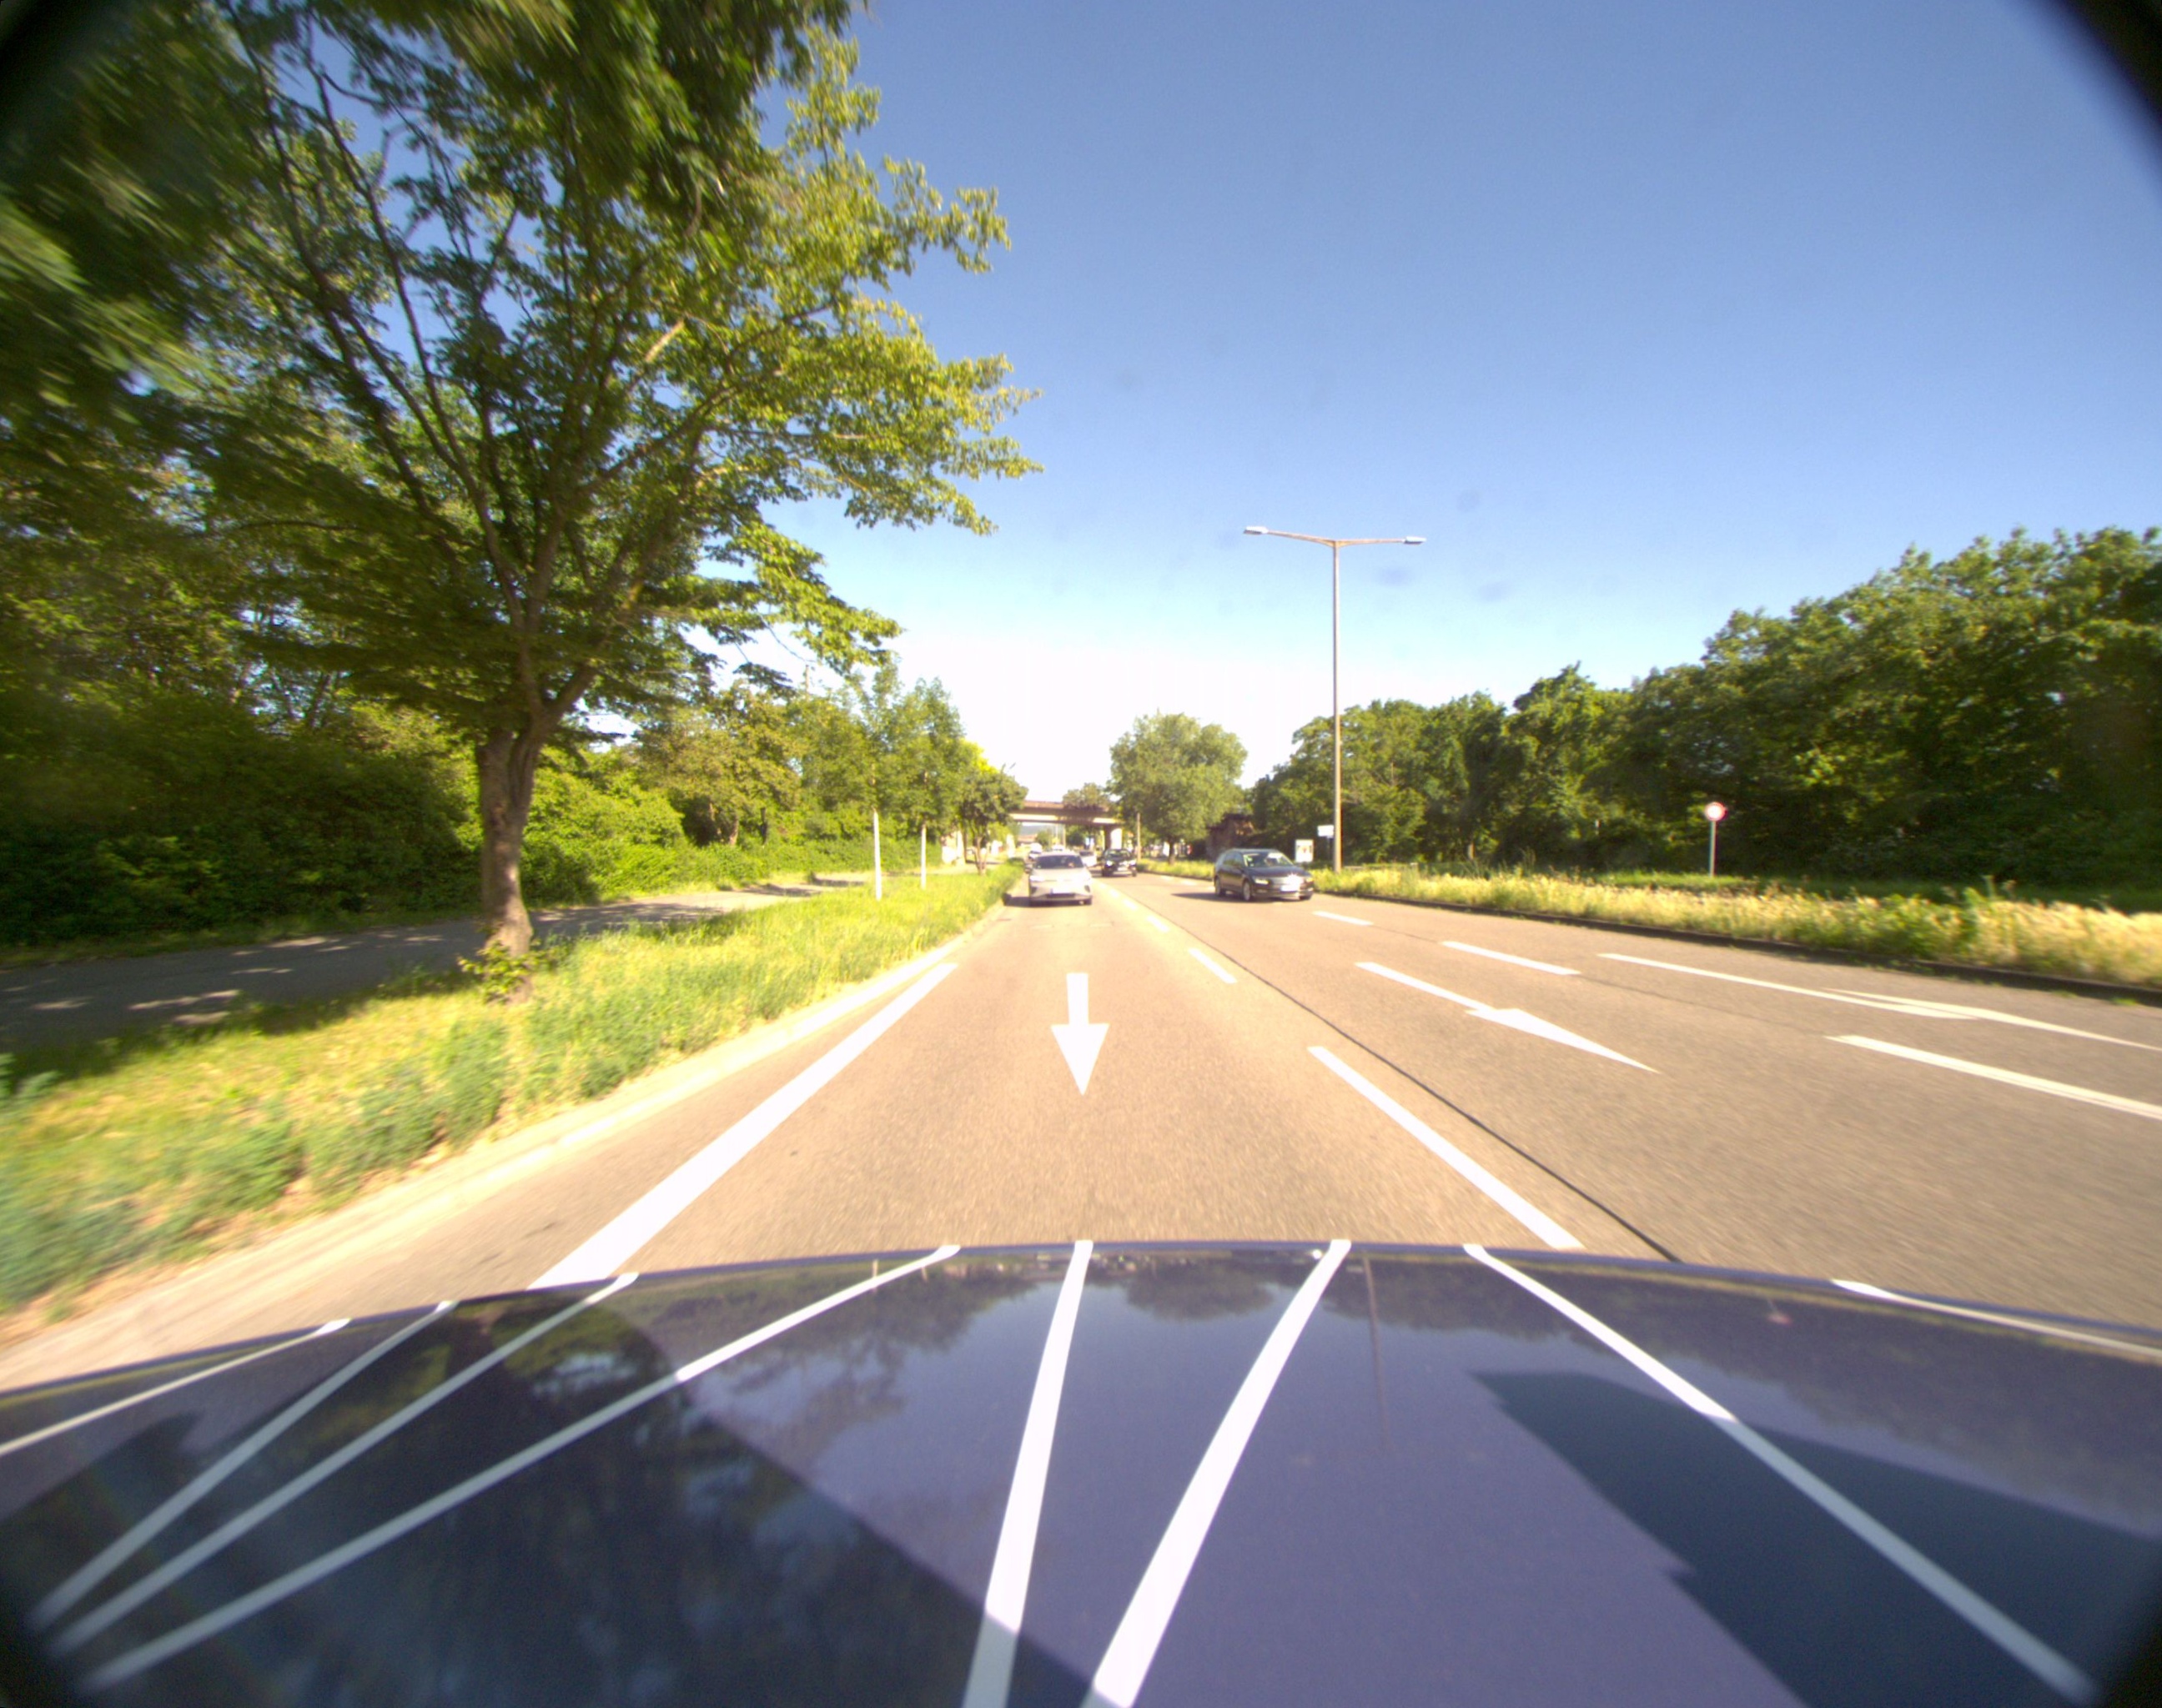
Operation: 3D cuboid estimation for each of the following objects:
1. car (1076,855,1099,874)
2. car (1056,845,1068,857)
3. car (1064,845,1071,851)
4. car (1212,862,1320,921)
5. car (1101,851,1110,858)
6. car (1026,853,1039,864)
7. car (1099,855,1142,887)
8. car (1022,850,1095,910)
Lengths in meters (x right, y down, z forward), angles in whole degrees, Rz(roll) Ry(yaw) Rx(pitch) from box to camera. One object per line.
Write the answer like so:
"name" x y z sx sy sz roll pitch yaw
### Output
"car" 0.599 0.910 69.669 1.714 1.653 3.854 -2 0 -5
"car" -3.249 -0.474 132.288 1.999 2.002 4.000 0 0 -1
"car" -3.992 -1.711 227.120 1.714 1.653 3.854 -2 0 -5
"car" 5.276 1.023 22.237 1.796 1.487 3.999 -1 0 -6
"car" 5.755 0.117 178.185 1.714 1.653 3.854 -2 0 -6
"car" -7.034 0.621 109.830 1.874 1.611 3.835 -1 0 -4
"car" 2.227 0.944 43.484 1.715 1.653 3.853 -2 0 -8
"car" -0.600 0.739 23.732 1.801 1.664 4.241 -1 0 5
